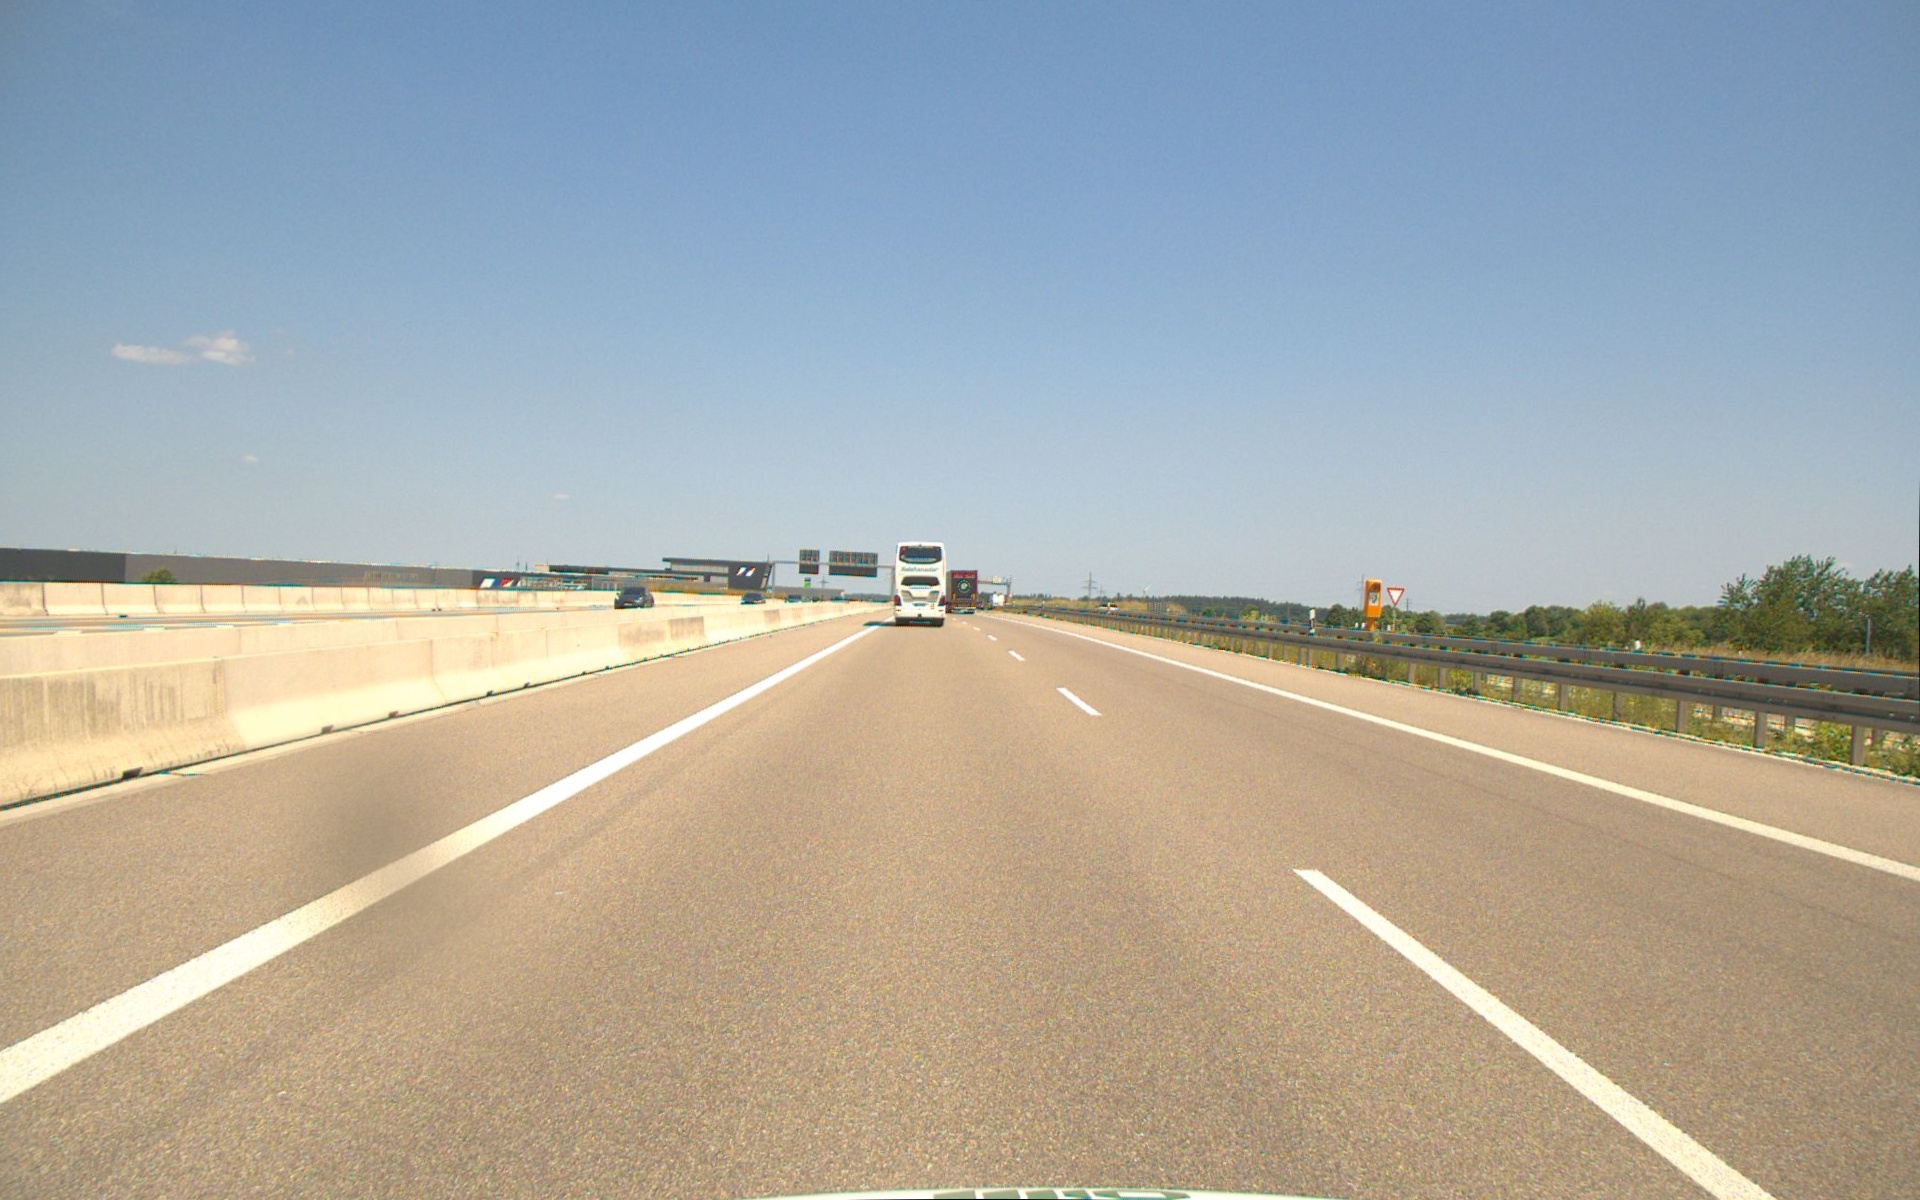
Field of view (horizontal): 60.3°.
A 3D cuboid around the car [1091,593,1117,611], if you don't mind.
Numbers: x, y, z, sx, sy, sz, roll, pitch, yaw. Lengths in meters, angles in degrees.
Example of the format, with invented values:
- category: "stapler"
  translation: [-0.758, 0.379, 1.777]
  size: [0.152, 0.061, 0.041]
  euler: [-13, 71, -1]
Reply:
- category: "car"
  translation: [13.240, 0.163, 152.079]
  size: [1.853, 1.556, 4.259]
  euler: [1, 0, -3]

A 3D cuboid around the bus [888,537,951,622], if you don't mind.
- category: "bus"
  translation: [-2.138, -1.002, 83.793]
  size: [2.920, 4.044, 9.100]
  euler: [1, 0, -2]

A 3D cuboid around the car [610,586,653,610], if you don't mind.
- category: "car"
  translation: [-20.656, -0.163, 104.235]
  size: [1.872, 1.445, 4.549]
  euler: [1, 0, -1]

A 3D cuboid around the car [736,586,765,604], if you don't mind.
- category: "car"
  translation: [-17.573, -0.415, 138.664]
  size: [1.874, 1.445, 4.907]
  euler: [1, 0, -1]

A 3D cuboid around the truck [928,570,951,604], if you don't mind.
- category: "truck"
  translation: [-2.421, -1.524, 193.071]
  size: [2.388, 3.855, 6.490]
  euler: [1, 0, -2]

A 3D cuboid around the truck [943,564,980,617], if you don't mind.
- category: "truck"
  translation: [0.161, -0.820, 161.575]
  size: [3.310, 4.542, 13.565]
  euler: [2, -2, 0]
